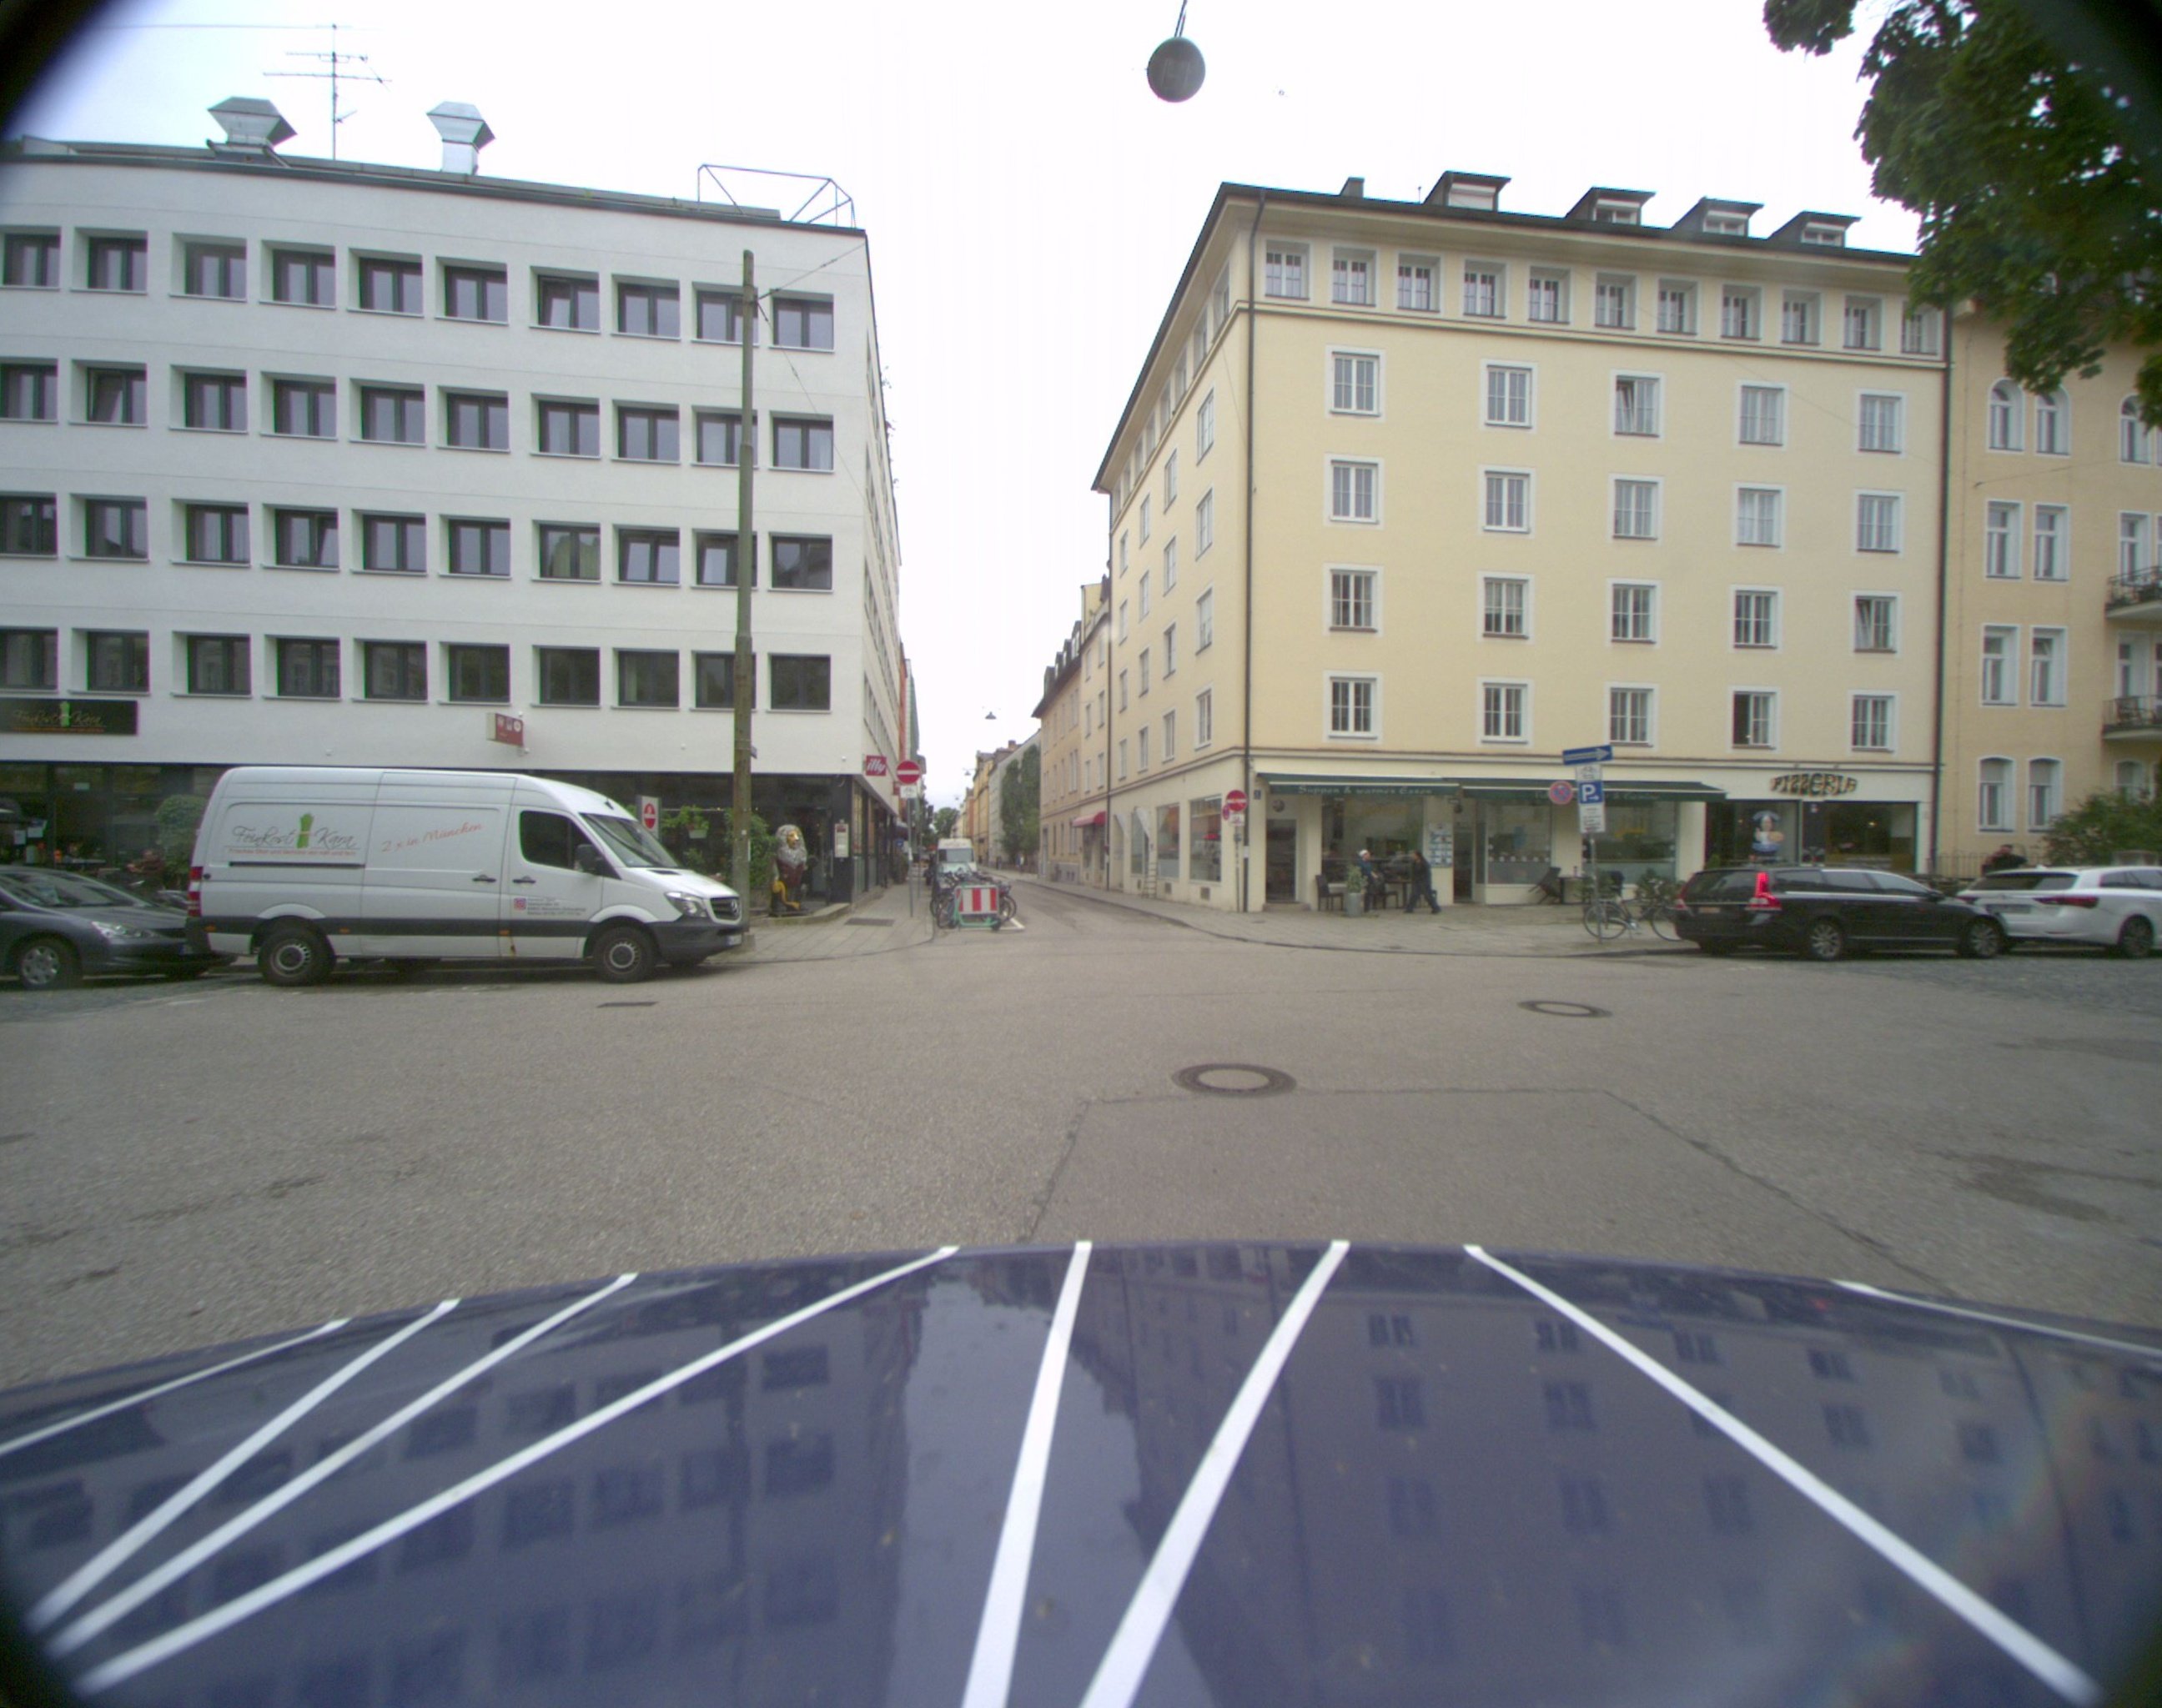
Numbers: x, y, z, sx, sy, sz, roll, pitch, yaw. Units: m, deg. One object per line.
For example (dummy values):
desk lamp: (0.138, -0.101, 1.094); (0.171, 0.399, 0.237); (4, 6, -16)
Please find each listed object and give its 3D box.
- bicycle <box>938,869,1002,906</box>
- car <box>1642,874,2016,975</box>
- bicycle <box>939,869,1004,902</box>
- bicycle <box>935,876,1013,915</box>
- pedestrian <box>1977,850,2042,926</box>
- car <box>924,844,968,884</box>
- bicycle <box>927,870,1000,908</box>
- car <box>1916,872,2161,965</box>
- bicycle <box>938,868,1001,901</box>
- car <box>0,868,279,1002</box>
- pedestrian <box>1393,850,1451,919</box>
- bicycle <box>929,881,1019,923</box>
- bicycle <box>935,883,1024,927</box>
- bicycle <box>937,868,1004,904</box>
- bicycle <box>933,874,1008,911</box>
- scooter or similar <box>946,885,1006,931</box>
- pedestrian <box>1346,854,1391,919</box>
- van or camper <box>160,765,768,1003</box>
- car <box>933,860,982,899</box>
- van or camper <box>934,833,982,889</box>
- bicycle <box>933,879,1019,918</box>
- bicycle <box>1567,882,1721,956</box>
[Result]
bicycle: (-3.568, 1.075, 24.438); (2.036, 1.139, 0.668); (0, 1, -9)
car: (12.132, 1.118, 12.506); (4.489, 1.473, 2.029); (0, -4, -8)
bicycle: (-3.842, 1.087, 26.659); (2.206, 1.139, 0.695); (0, 1, -9)
bicycle: (-2.970, 1.133, 21.153); (2.106, 1.026, 0.974); (0, 0, -9)
pedestrian: (22.401, 0.788, 18.335); (0.781, 1.779, 0.855); (0, 1, -31)
car: (-7.605, 0.549, 42.630); (2.001, 2.121, 3.994); (0, 0, -17)
bicycle: (-3.657, 1.067, 23.613); (2.209, 1.139, 0.739); (0, 1, -9)
car: (17.284, 1.059, 12.882); (4.431, 1.417, 2.000); (0, -4, -8)
bicycle: (-4.002, 1.093, 27.255); (2.207, 1.139, 0.639); (0, 1, -9)
car: (-12.939, 0.934, 9.165); (4.145, 1.476, 1.892); (0, -3, -9)
pedestrian: (8.470, 0.742, 18.917); (1.123, 1.667, 0.871); (0, 1, 10)
bicycle: (-2.665, 1.187, 18.914); (2.178, 0.971, 0.974); (0, 0, -9)
bicycle: (-2.379, 1.175, 17.757); (1.995, 0.958, 0.973); (0, 0, -9)
bicycle: (-3.656, 1.057, 25.203); (2.181, 1.139, 0.674); (0, 1, -9)
bicycle: (-3.239, 1.118, 22.289); (2.154, 1.026, 0.974); (0, 0, -9)
scooter or similar: (-2.292, 1.174, 16.619); (1.283, 0.970, 0.498); (0, 1, -9)
pedestrian: (7.330, 0.815, 19.341); (0.920, 1.601, 0.777); (1, 1, 33)
van or camper: (-7.555, 0.394, 10.015); (5.869, 2.697, 2.304); (0, -2, -5)
car: (-4.853, 0.960, 30.068); (1.759, 1.386, 3.997); (0, 0, -8)
van or camper: (-6.071, 0.324, 36.934); (1.968, 2.494, 5.716); (0, 0, -13)
bicycle: (-2.776, 1.169, 20.068); (2.175, 0.958, 0.974); (0, 0, -9)
bicycle: (10.422, 1.166, 14.176); (2.149, 1.195, 0.811); (2, 1, 23)
